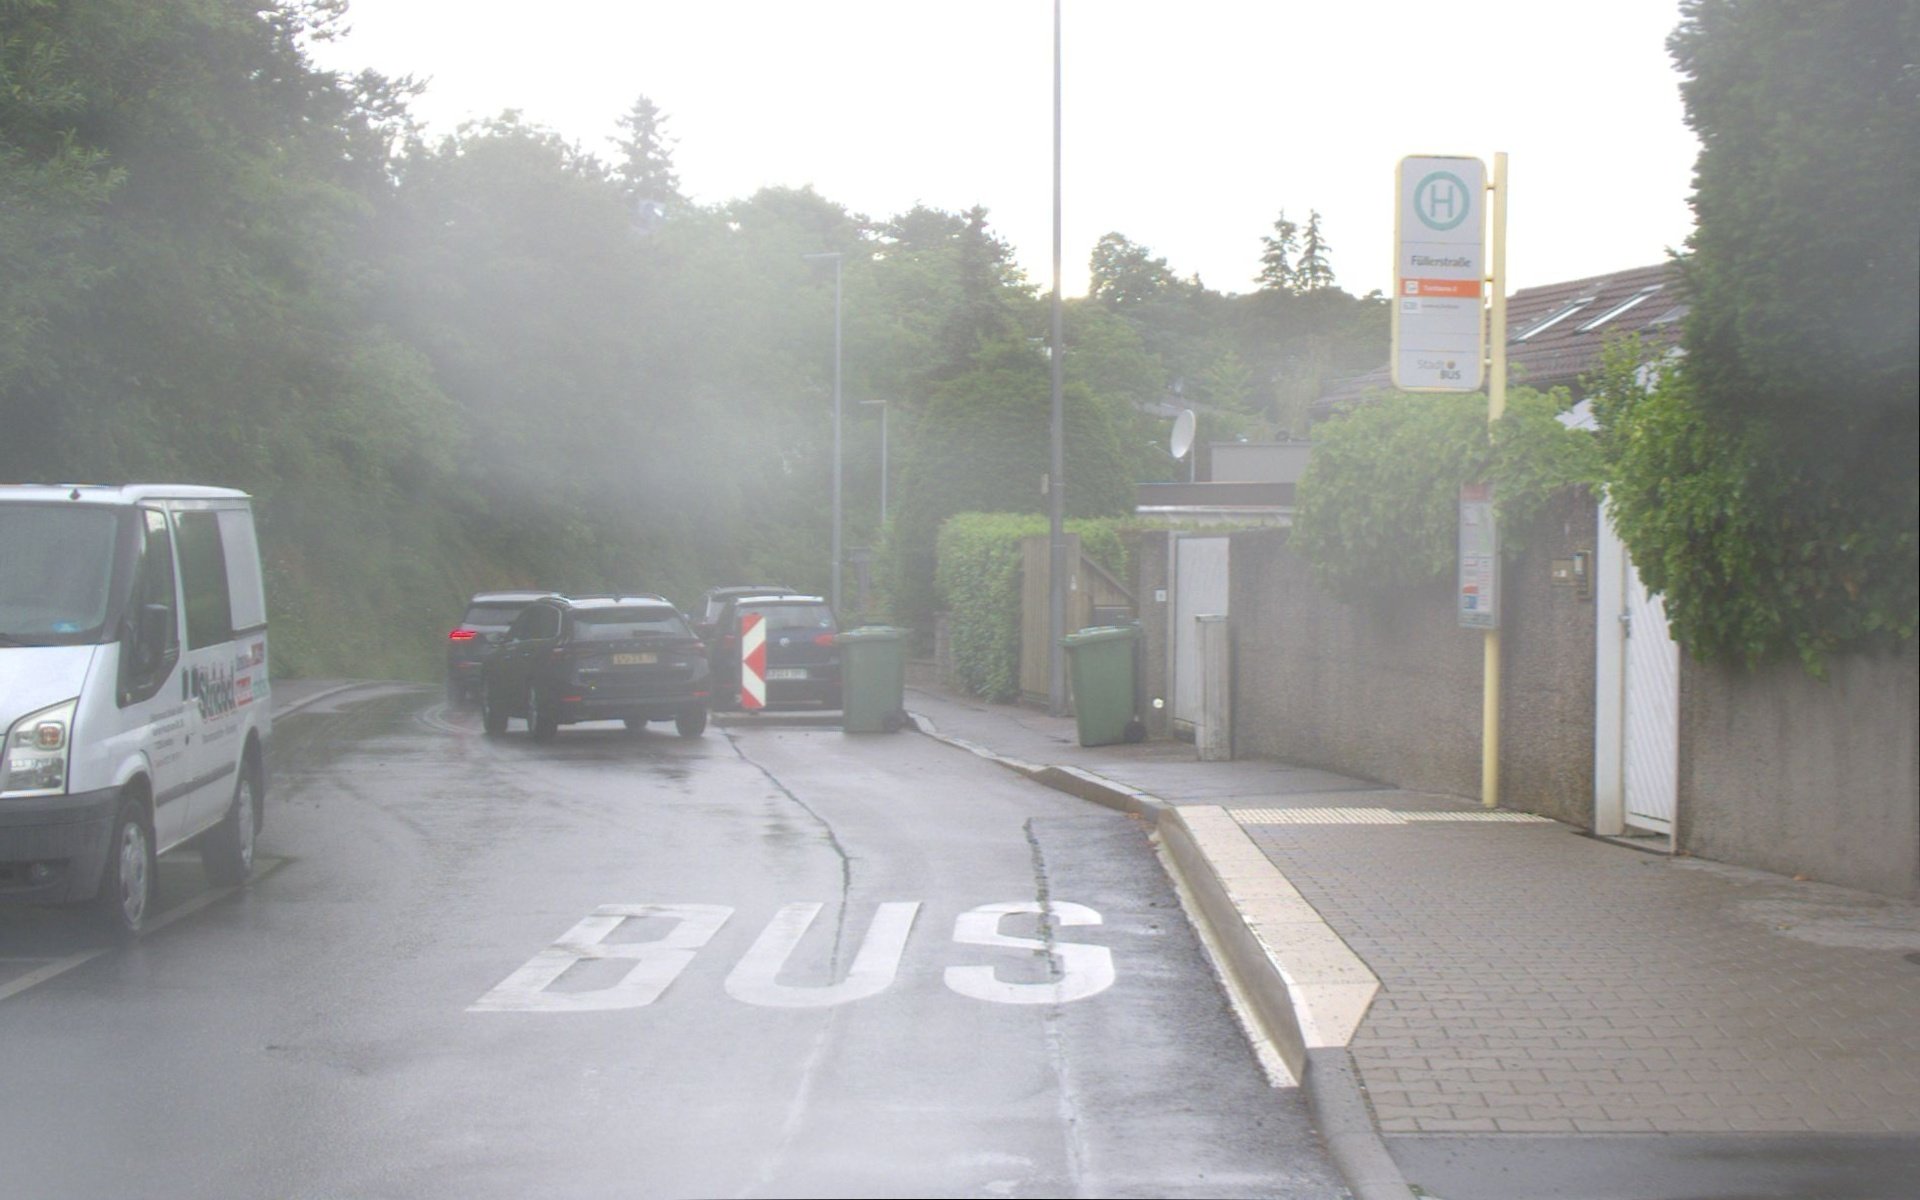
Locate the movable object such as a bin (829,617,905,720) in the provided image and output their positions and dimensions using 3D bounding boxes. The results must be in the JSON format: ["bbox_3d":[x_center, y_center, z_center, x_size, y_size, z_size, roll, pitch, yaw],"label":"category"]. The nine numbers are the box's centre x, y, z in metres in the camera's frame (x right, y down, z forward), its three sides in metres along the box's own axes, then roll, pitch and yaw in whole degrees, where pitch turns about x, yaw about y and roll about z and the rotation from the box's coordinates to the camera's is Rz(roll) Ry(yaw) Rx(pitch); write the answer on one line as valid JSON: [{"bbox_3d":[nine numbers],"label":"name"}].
[{"bbox_3d":[-1.000,0.730,36.806,0.728,1.075,0.661,1,0,-8],"label":"movable object such as a bin"}]

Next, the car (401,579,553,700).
[{"bbox_3d":[-6.777,0.524,48.627,1.993,1.600,4.410,1,0,-6],"label":"car"}]

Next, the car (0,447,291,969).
[{"bbox_3d":[-4.447,0.393,15.527,2.111,1.968,5.173,0,0,-3],"label":"car"}]

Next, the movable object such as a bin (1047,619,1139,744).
[{"bbox_3d":[1.201,0.732,31.234,0.739,1.085,0.600,-2,1,-4],"label":"movable object such as a bin"}]

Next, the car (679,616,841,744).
[{"bbox_3d":[-2.547,0.960,43.002,1.755,1.457,4.302,1,0,-7],"label":"car"}]

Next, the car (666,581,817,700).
[{"bbox_3d":[-3.121,0.527,48.441,1.875,1.586,4.480,0,0,-7],"label":"car"}]

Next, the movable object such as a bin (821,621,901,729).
[{"bbox_3d":[-1.030,0.773,35.648,0.715,1.092,0.656,1,0,-11],"label":"movable object such as a bin"}]

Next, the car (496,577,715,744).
[{"bbox_3d":[-3.708,0.674,35.439,1.868,1.507,4.093,2,-4,-10],"label":"car"}]
